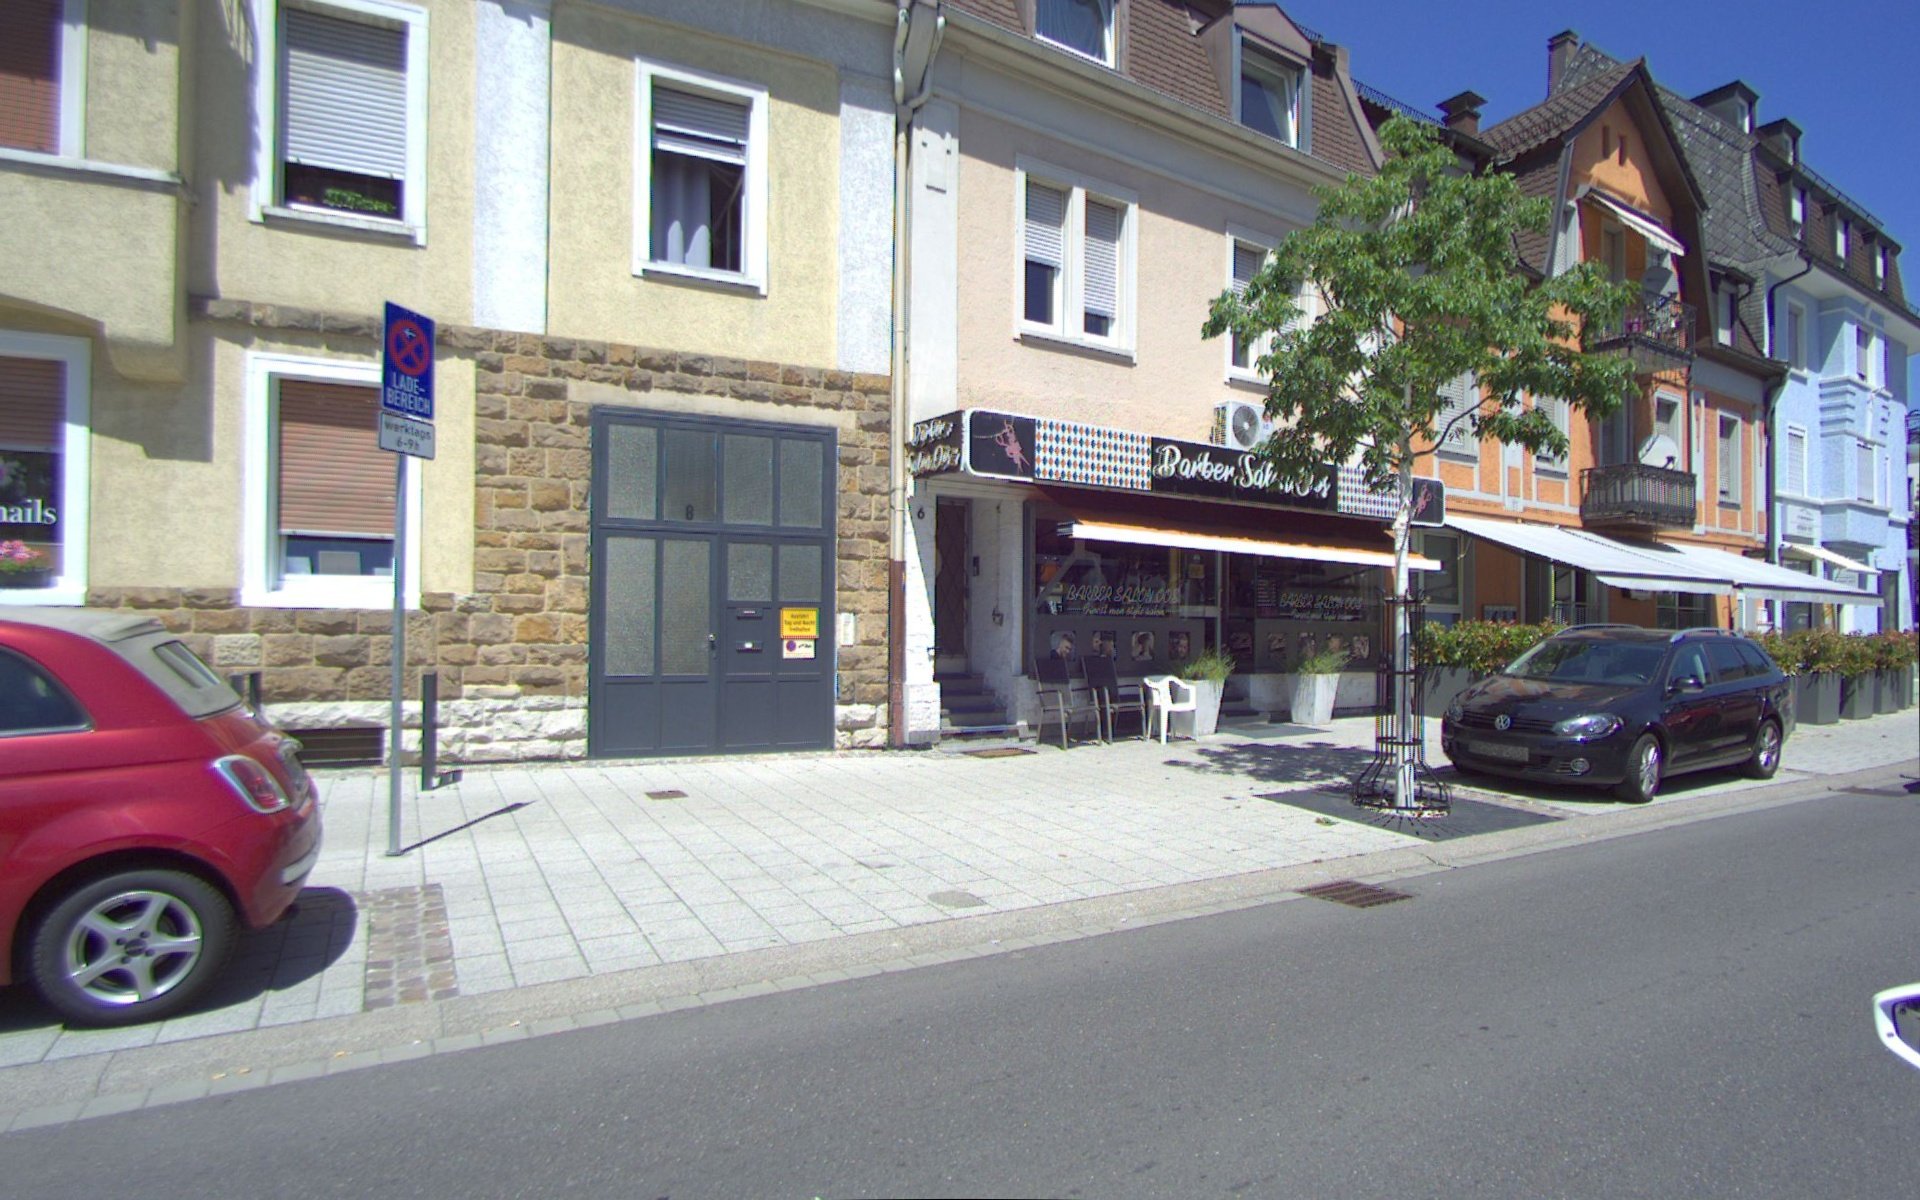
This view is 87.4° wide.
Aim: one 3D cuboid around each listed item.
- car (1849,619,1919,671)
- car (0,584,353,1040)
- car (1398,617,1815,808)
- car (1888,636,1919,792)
[{"bbox_3d":[36.501,1.679,37.894,1.734,1.900,4.217,0,0,-15],"label":"car"},{"bbox_3d":[-4.272,0.697,3.667,3.477,1.541,1.551,2,-1,-32],"label":"car"},{"bbox_3d":[6.646,0.973,10.226,4.289,1.501,1.905,1,1,-32],"label":"car"},{"bbox_3d":[10.931,1.051,9.803,3.939,1.445,1.904,1,-4,-35],"label":"car"}]
